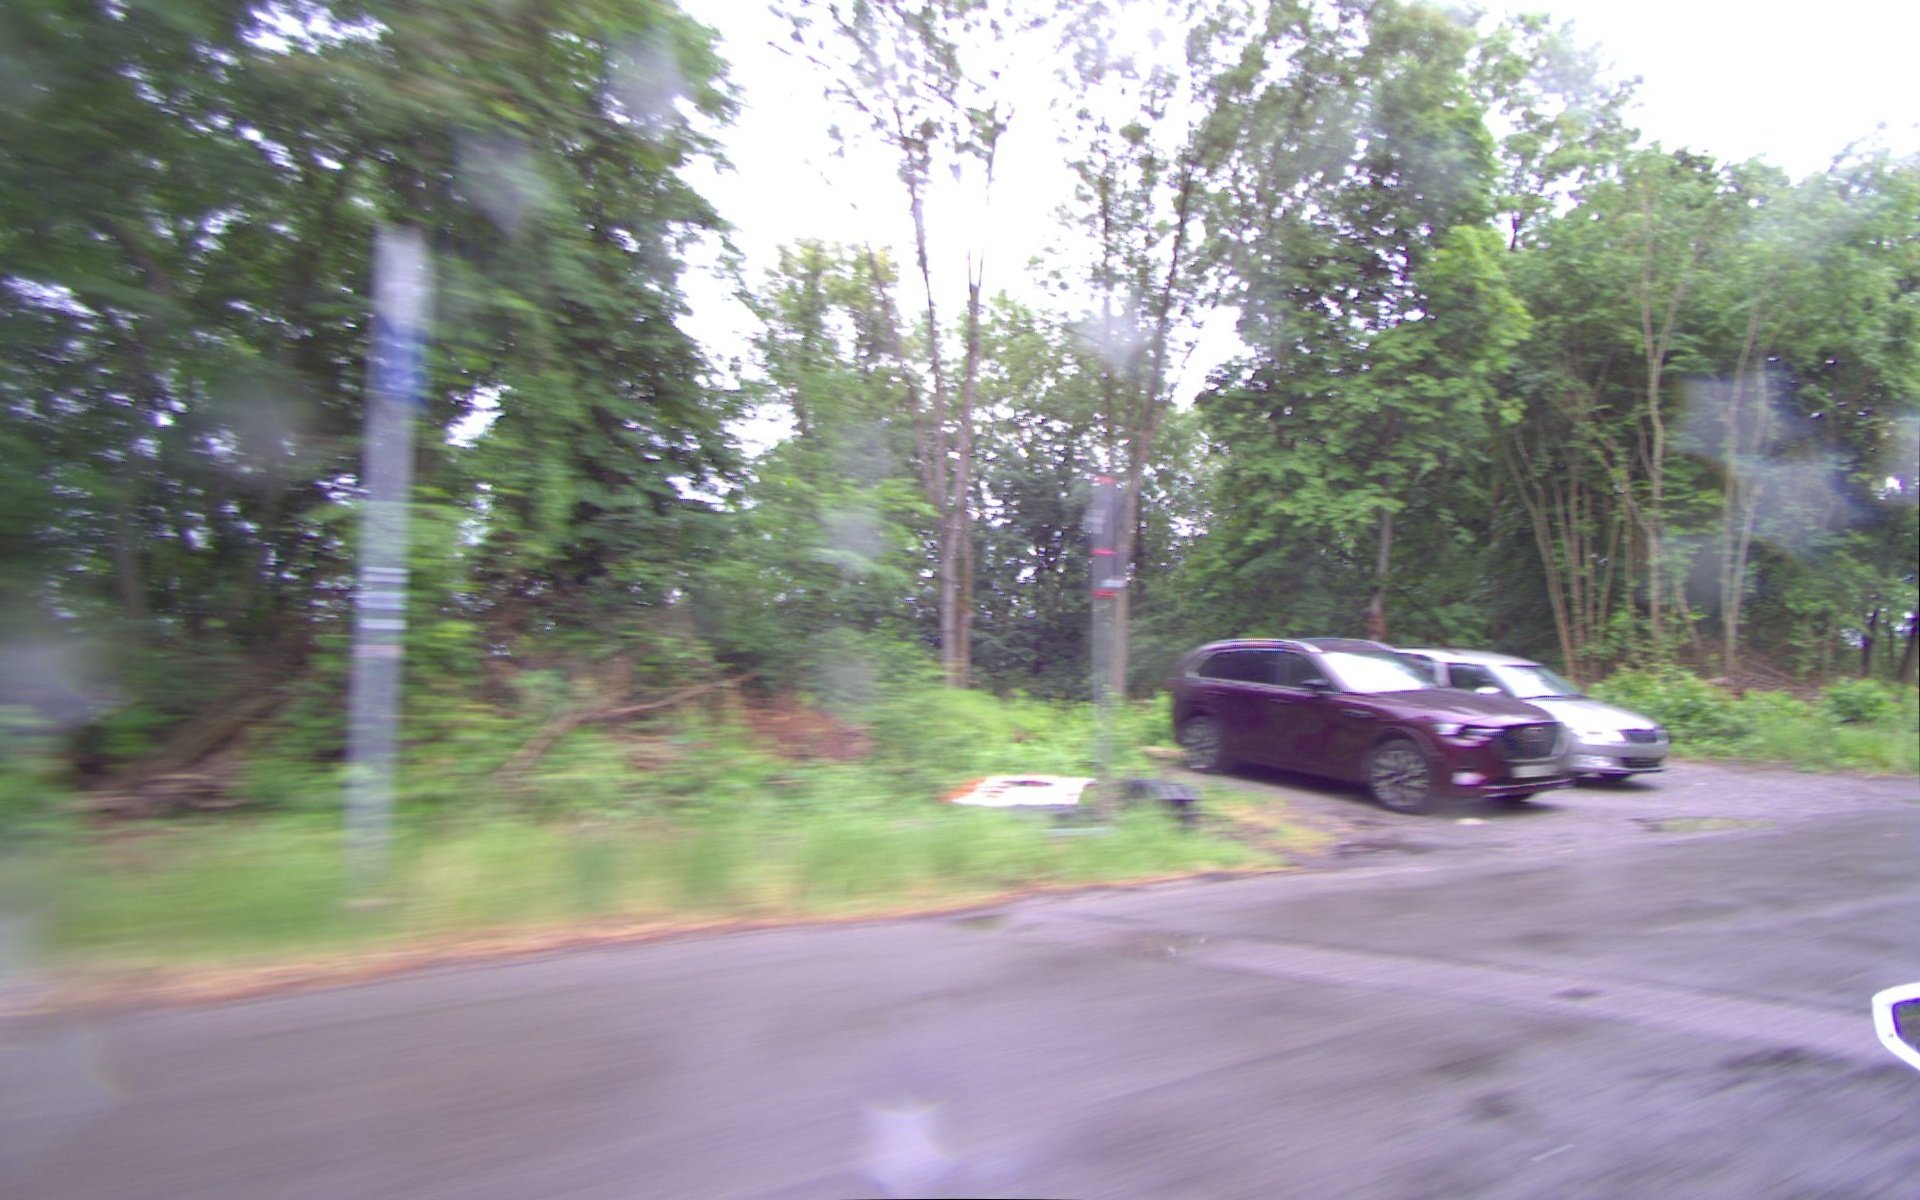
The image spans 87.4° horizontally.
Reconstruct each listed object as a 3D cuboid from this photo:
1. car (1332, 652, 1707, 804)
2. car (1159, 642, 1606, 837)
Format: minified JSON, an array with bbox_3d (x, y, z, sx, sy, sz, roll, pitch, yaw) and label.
[{"bbox_3d":[7.118,1.523,13.298,1.749,1.575,4.125,1,-2,-24],"label":"car"},{"bbox_3d":[4.528,1.375,11.710,1.851,1.699,4.810,1,-2,-25],"label":"car"}]
